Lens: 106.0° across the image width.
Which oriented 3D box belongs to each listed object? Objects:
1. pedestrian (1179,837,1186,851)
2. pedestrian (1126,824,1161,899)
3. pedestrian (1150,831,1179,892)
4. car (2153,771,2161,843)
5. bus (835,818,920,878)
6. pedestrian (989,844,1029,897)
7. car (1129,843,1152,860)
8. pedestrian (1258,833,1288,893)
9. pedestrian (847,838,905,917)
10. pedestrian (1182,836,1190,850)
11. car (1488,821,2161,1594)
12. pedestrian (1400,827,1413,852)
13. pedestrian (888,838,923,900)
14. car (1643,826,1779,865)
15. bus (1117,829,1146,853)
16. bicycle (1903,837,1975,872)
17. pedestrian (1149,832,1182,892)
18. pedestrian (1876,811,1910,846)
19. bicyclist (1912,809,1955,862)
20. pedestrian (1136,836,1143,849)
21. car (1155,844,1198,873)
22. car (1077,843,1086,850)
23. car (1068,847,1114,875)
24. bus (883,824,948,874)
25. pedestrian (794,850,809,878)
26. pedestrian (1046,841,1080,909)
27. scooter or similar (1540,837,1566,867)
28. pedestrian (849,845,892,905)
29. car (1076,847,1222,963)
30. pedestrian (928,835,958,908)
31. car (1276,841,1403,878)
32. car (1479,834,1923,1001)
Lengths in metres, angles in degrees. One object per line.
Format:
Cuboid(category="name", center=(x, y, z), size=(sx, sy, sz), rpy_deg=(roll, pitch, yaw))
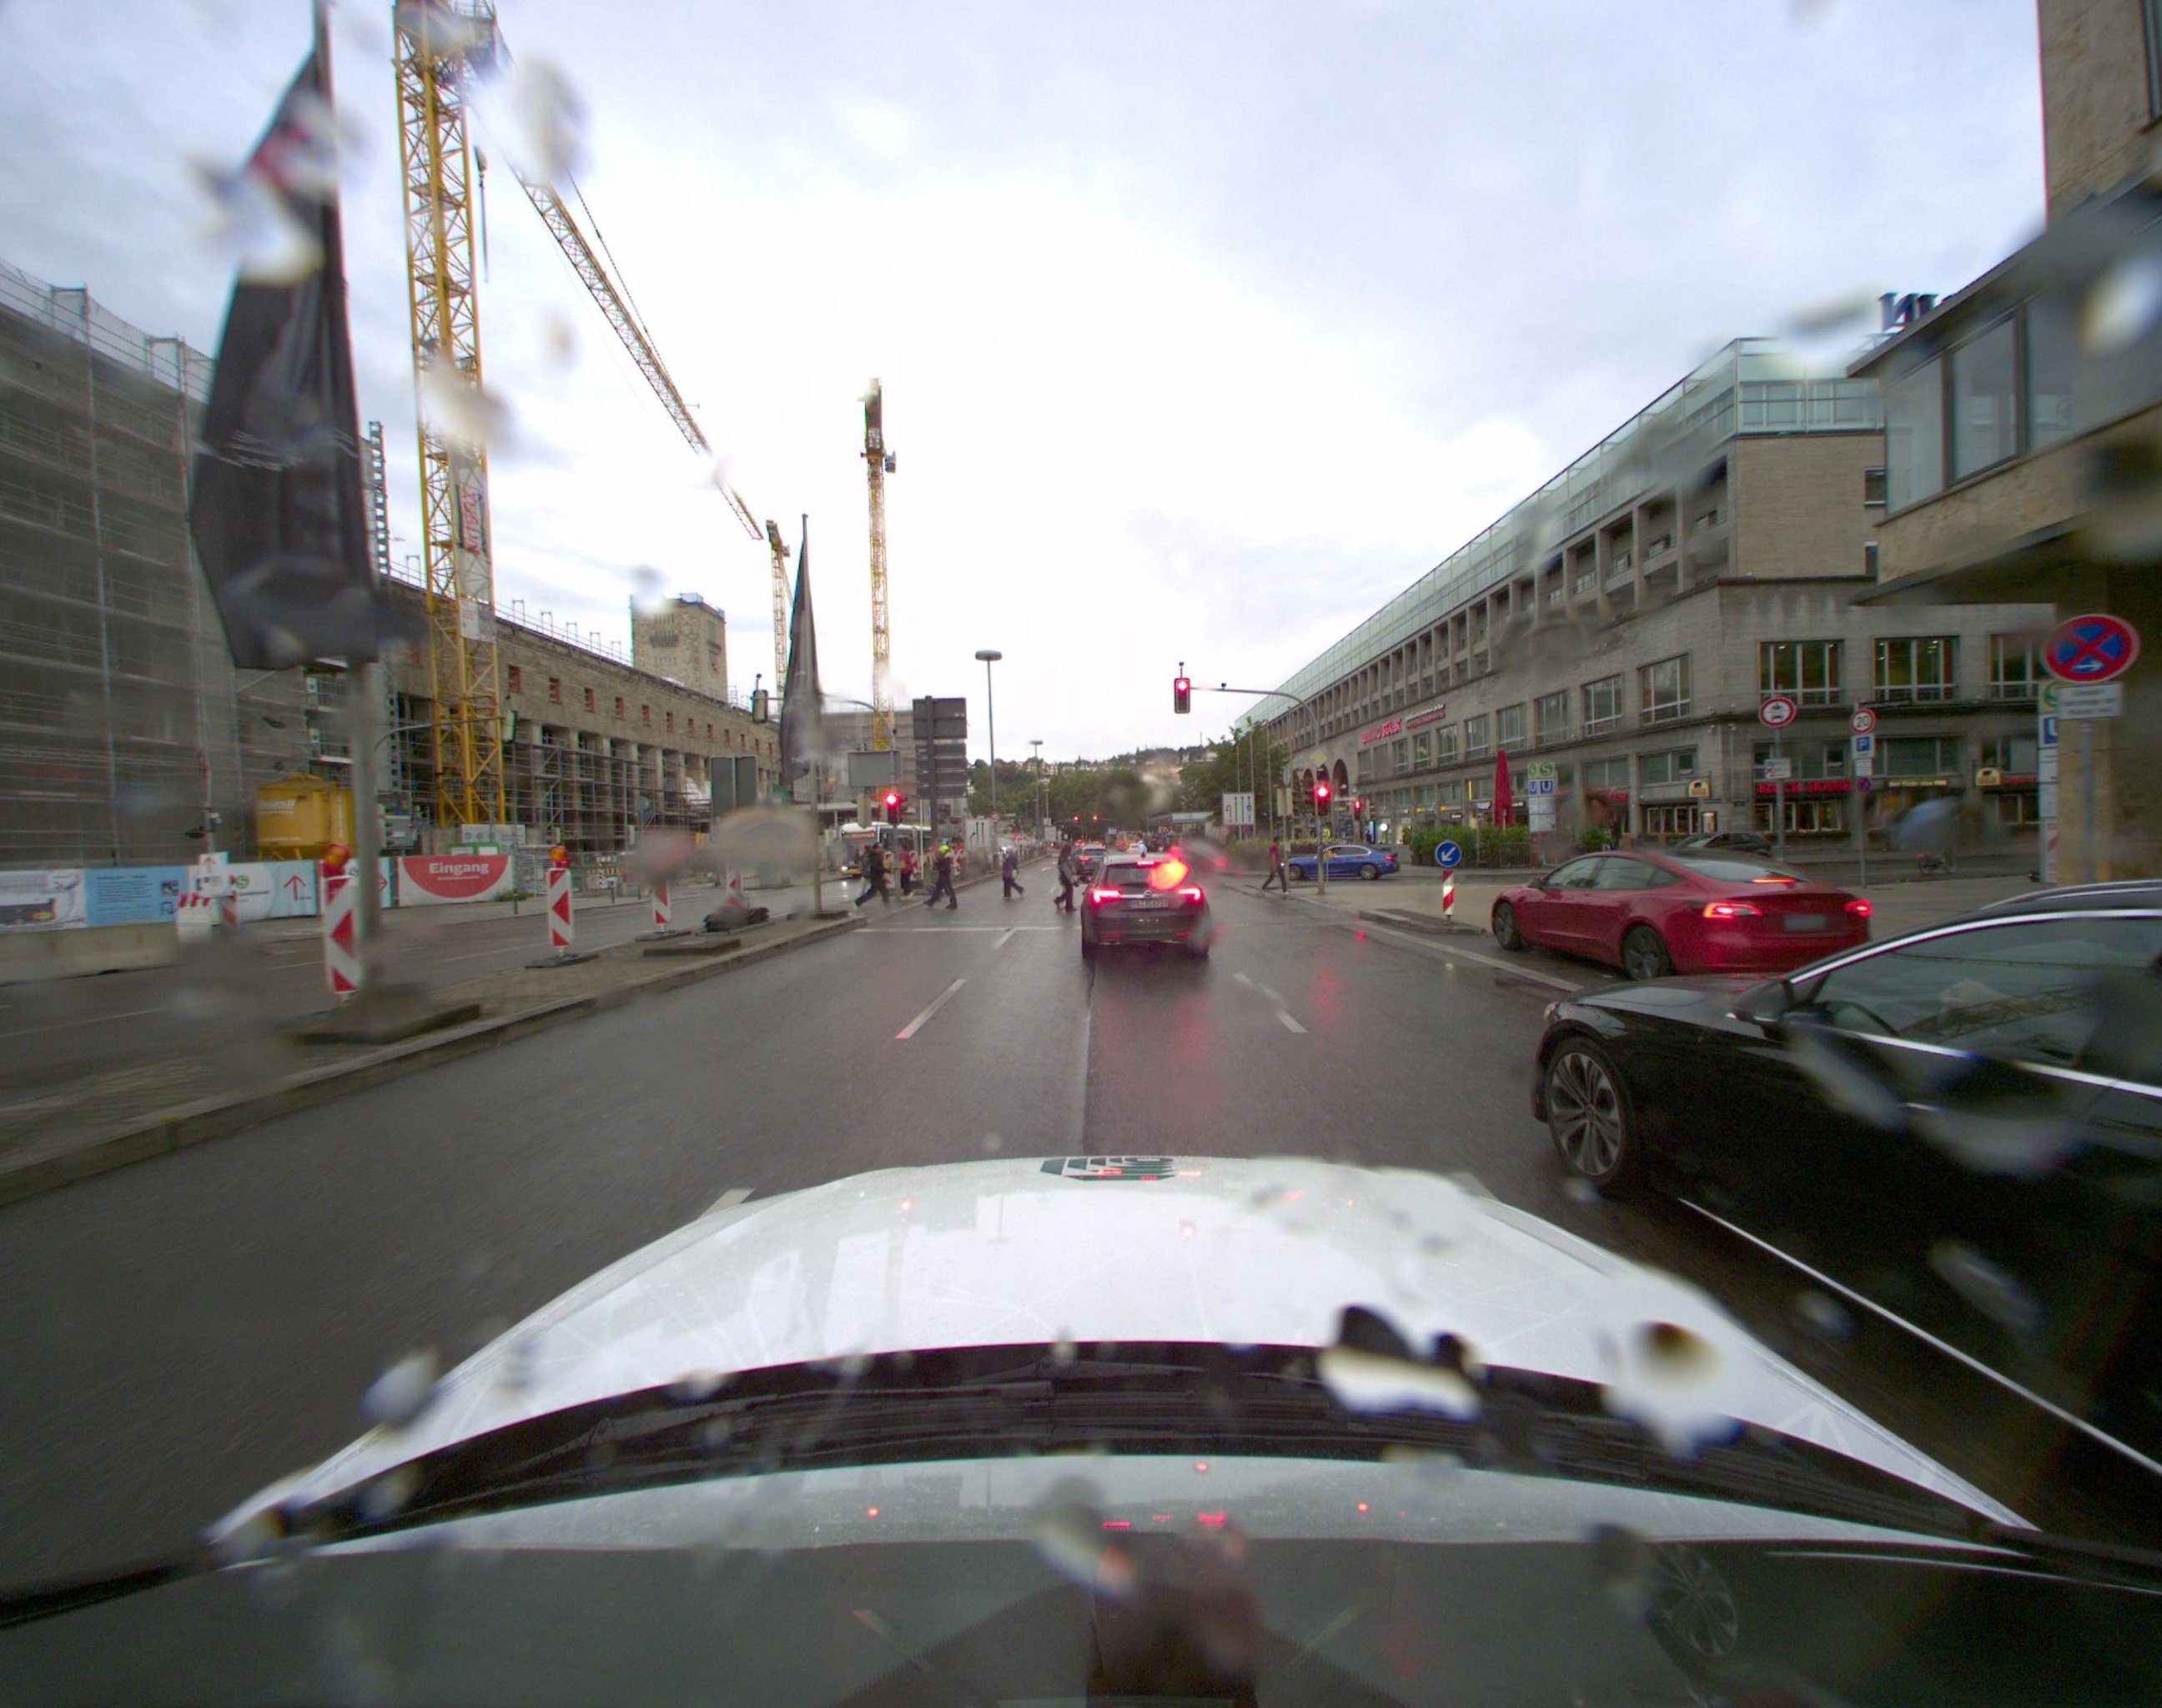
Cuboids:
Cuboid(category="pedestrian", center=(12.481, -1.266, 100.084), size=(0.761, 1.690, 0.824), rpy_deg=(-1, 0, -3))
Cuboid(category="pedestrian", center=(1.601, 0.184, 20.965), size=(0.798, 1.890, 0.618), rpy_deg=(-1, 0, -7))
Cuboid(category="pedestrian", center=(2.380, 0.219, 23.332), size=(0.753, 1.717, 0.466), rpy_deg=(-1, 0, -2))
Cuboid(category="car", center=(44.340, -1.829, 30.384), size=(6.148, 2.761, 2.000), rpy_deg=(-1, 0, -1))
Cuboid(category="bus", center=(-13.123, -0.363, 53.607), size=(2.658, 3.601, 10.244), rpy_deg=(-1, 0, 2))
Cuboid(category="pedestrian", center=(-2.175, 0.478, 24.612), size=(0.777, 1.561, 0.880), rpy_deg=(-1, 0, 44))
Cuboid(category="car", center=(5.070, -0.247, 69.950), size=(1.838, 1.398, 3.565), rpy_deg=(-1, 0, 2))
Cuboid(category="pedestrian", center=(5.654, 0.256, 23.988), size=(0.563, 1.752, 0.684), rpy_deg=(-1, 0, 44))
Cuboid(category="pedestrian", center=(-4.793, 0.540, 19.083), size=(1.093, 1.751, 0.653), rpy_deg=(-4, 0, -1))
Cuboid(category="pedestrian", center=(12.743, -1.329, 98.950), size=(0.761, 1.690, 0.824), rpy_deg=(-1, 0, -3))
Cuboid(category="car", center=(3.002, 0.677, 2.029), size=(1.786, 1.501, 4.630), rpy_deg=(-1, 0, 2))
Cuboid(category="pedestrian", center=(26.848, -1.177, 67.150), size=(0.760, 2.013, 0.825), rpy_deg=(-1, 0, 2))
Cuboid(category="pedestrian", center=(-5.101, 0.429, 23.733), size=(0.797, 1.717, 0.619), rpy_deg=(-3, 0, -2))
Cuboid(category="car", center=(23.514, -0.310, 30.493), size=(3.639, 1.398, 1.853), rpy_deg=(-1, 0, 3))
Cuboid(category="bus", center=(7.640, -1.899, 125.660), size=(4.158, 3.469, 14.661), rpy_deg=(-1, 0, 2))
Cuboid(category="bicycle", center=(25.650, 0.004, 24.336), size=(2.213, 1.009, 0.589), rpy_deg=(-1, 0, -18))
Cuboid(category="pedestrian", center=(2.300, 0.226, 22.268), size=(0.797, 1.608, 0.619), rpy_deg=(-1, 0, -2))
Cuboid(category="pedestrian", center=(35.477, -1.100, 35.581), size=(0.755, 1.512, 0.716), rpy_deg=(-1, 0, -3))
Cuboid(category="bicyclist", center=(25.391, -0.545, 24.263), size=(0.717, 1.540, 0.609), rpy_deg=(0, 0, -17))
Cuboid(category="pedestrian", center=(10.836, -2.070, 150.551), size=(1.194, 2.435, 1.229), rpy_deg=(-1, 0, 3))
Cuboid(category="car", center=(4.939, 0.219, 42.643), size=(1.747, 1.398, 4.401), rpy_deg=(-1, 0, 0))
Cuboid(category="car", center=(0.105, -1.385, 154.935), size=(1.752, 1.398, 3.565), rpy_deg=(-1, 0, 2))
Cuboid(category="car", center=(0.493, 0.358, 42.871), size=(1.752, 1.398, 4.525), rpy_deg=(-1, 0, -8))
Cuboid(category="bus", center=(-12.778, -0.376, 63.792), size=(2.658, 3.601, 10.216), rpy_deg=(-1, 0, 2))
Cuboid(category="pedestrian", center=(-19.101, 0.654, 55.639), size=(0.659, 1.855, 0.799), rpy_deg=(-2, 0, 2))
Cuboid(category="pedestrian", center=(-0.440, 0.497, 19.982), size=(0.791, 1.626, 0.899), rpy_deg=(-1, 0, -2))
Cuboid(category="scooter or similar", center=(19.586, -0.080, 33.817), size=(0.290, 1.189, 1.014), rpy_deg=(0, 0, -16))
Cuboid(category="pedestrian", center=(-5.589, 0.548, 21.717), size=(0.912, 1.563, 0.899), rpy_deg=(-1, 0, -2))
Cuboid(category="car", center=(0.927, 0.655, 12.479), size=(1.868, 1.486, 4.001), rpy_deg=(-1, 0, 1))
Cuboid(category="pedestrian", center=(-3.513, 0.440, 20.799), size=(0.576, 1.836, 0.820), rpy_deg=(-1, 0, 2))
Cuboid(category="car", center=(10.301, 0.206, 32.504), size=(4.590, 1.398, 1.769), rpy_deg=(-1, 0, 27))
Cuboid(category="car", center=(6.681, 0.569, 9.586), size=(1.868, 1.486, 4.528), rpy_deg=(-1, 0, 1))
